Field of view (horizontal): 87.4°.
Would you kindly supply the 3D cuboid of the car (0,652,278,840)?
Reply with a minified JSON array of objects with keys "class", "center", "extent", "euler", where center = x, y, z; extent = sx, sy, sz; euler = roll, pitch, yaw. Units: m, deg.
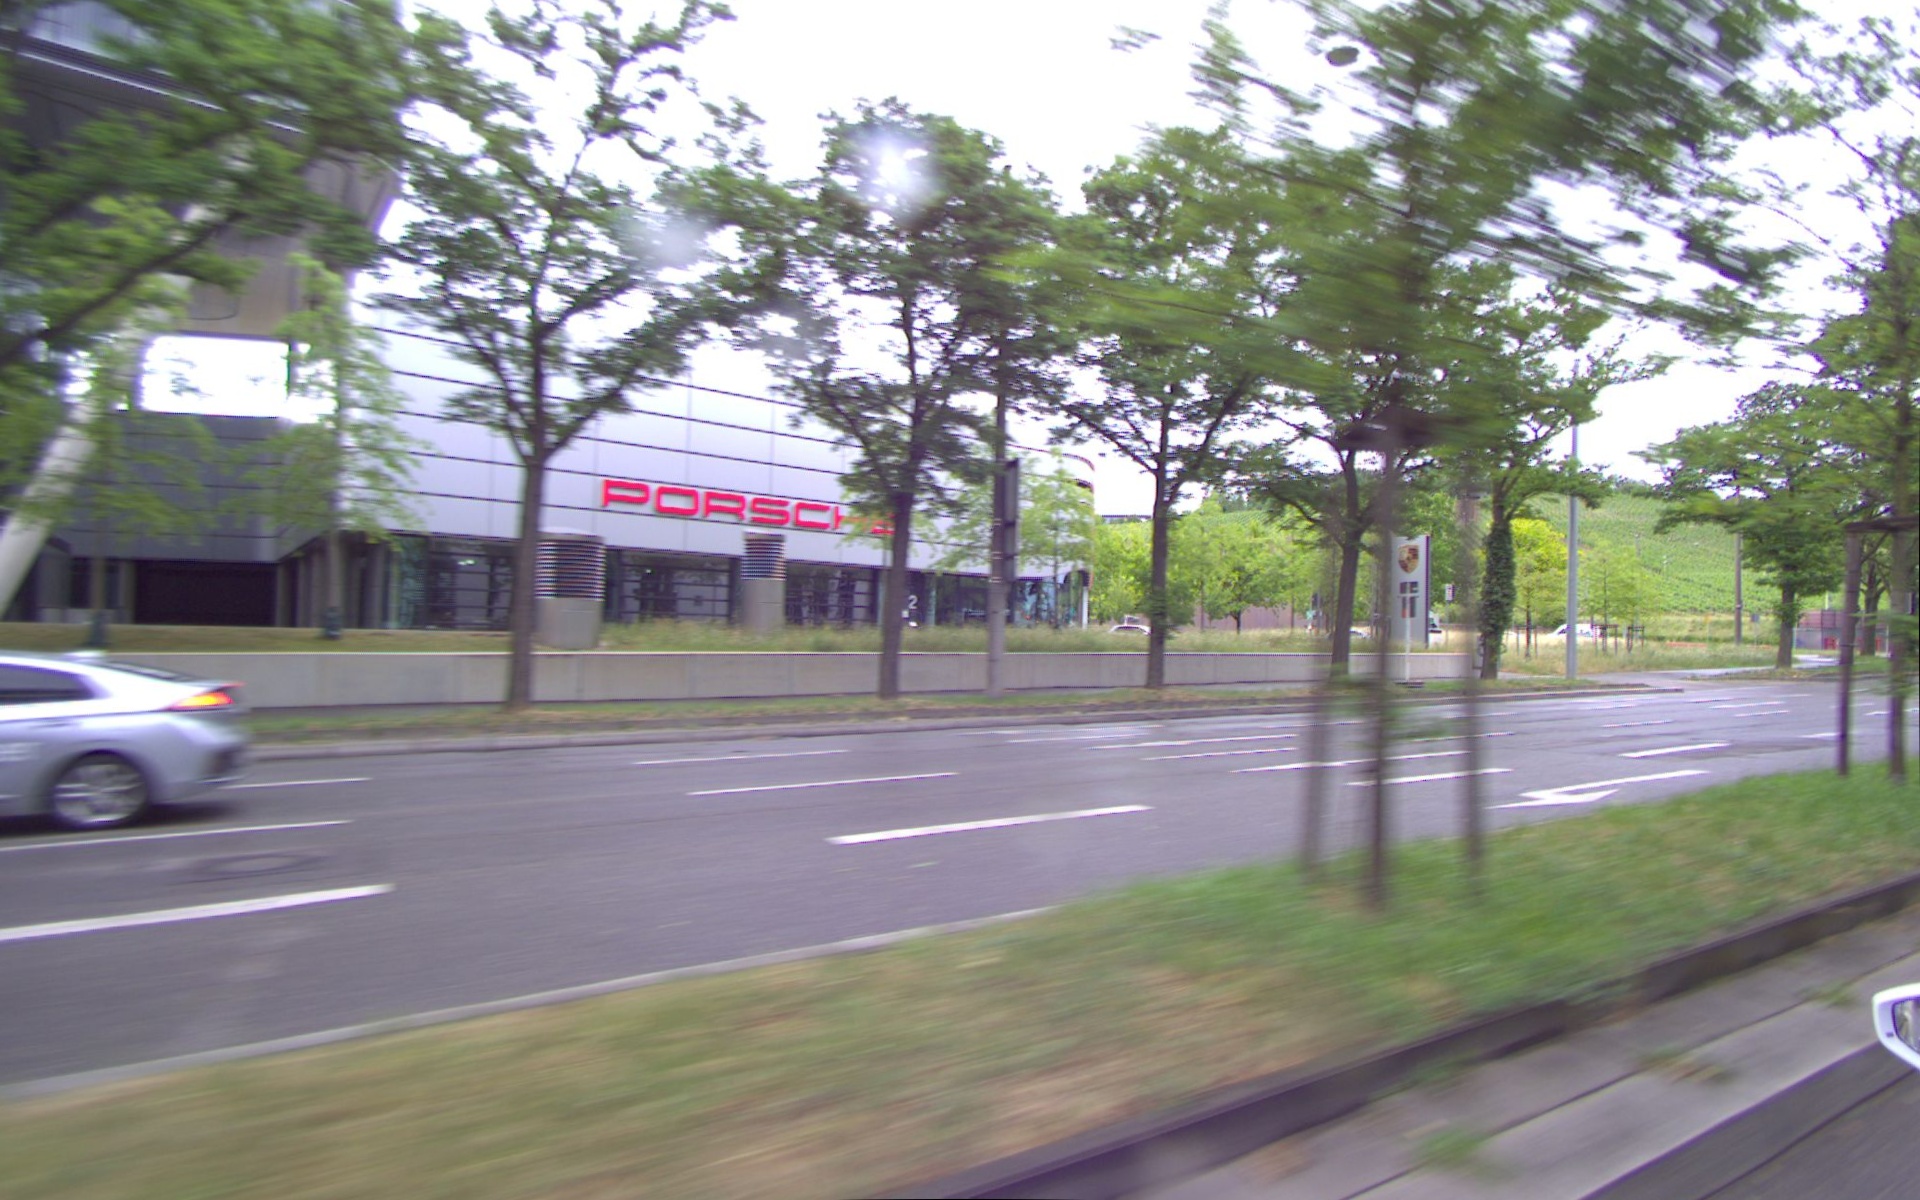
[{"class":"car","center":[-8.400,1.151,8.126],"extent":[4.601,1.429,1.806],"euler":[2,-4,-30]}]

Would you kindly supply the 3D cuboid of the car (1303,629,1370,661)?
[{"class":"car","center":[25.088,2.992,67.021],"extent":[3.919,2.040,2.001],"euler":[0,-2,14]}]

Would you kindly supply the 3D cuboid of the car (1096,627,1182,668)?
[{"class":"car","center":[9.184,2.436,51.748],"extent":[3.945,2.040,1.988],"euler":[-2,-3,44]}]
